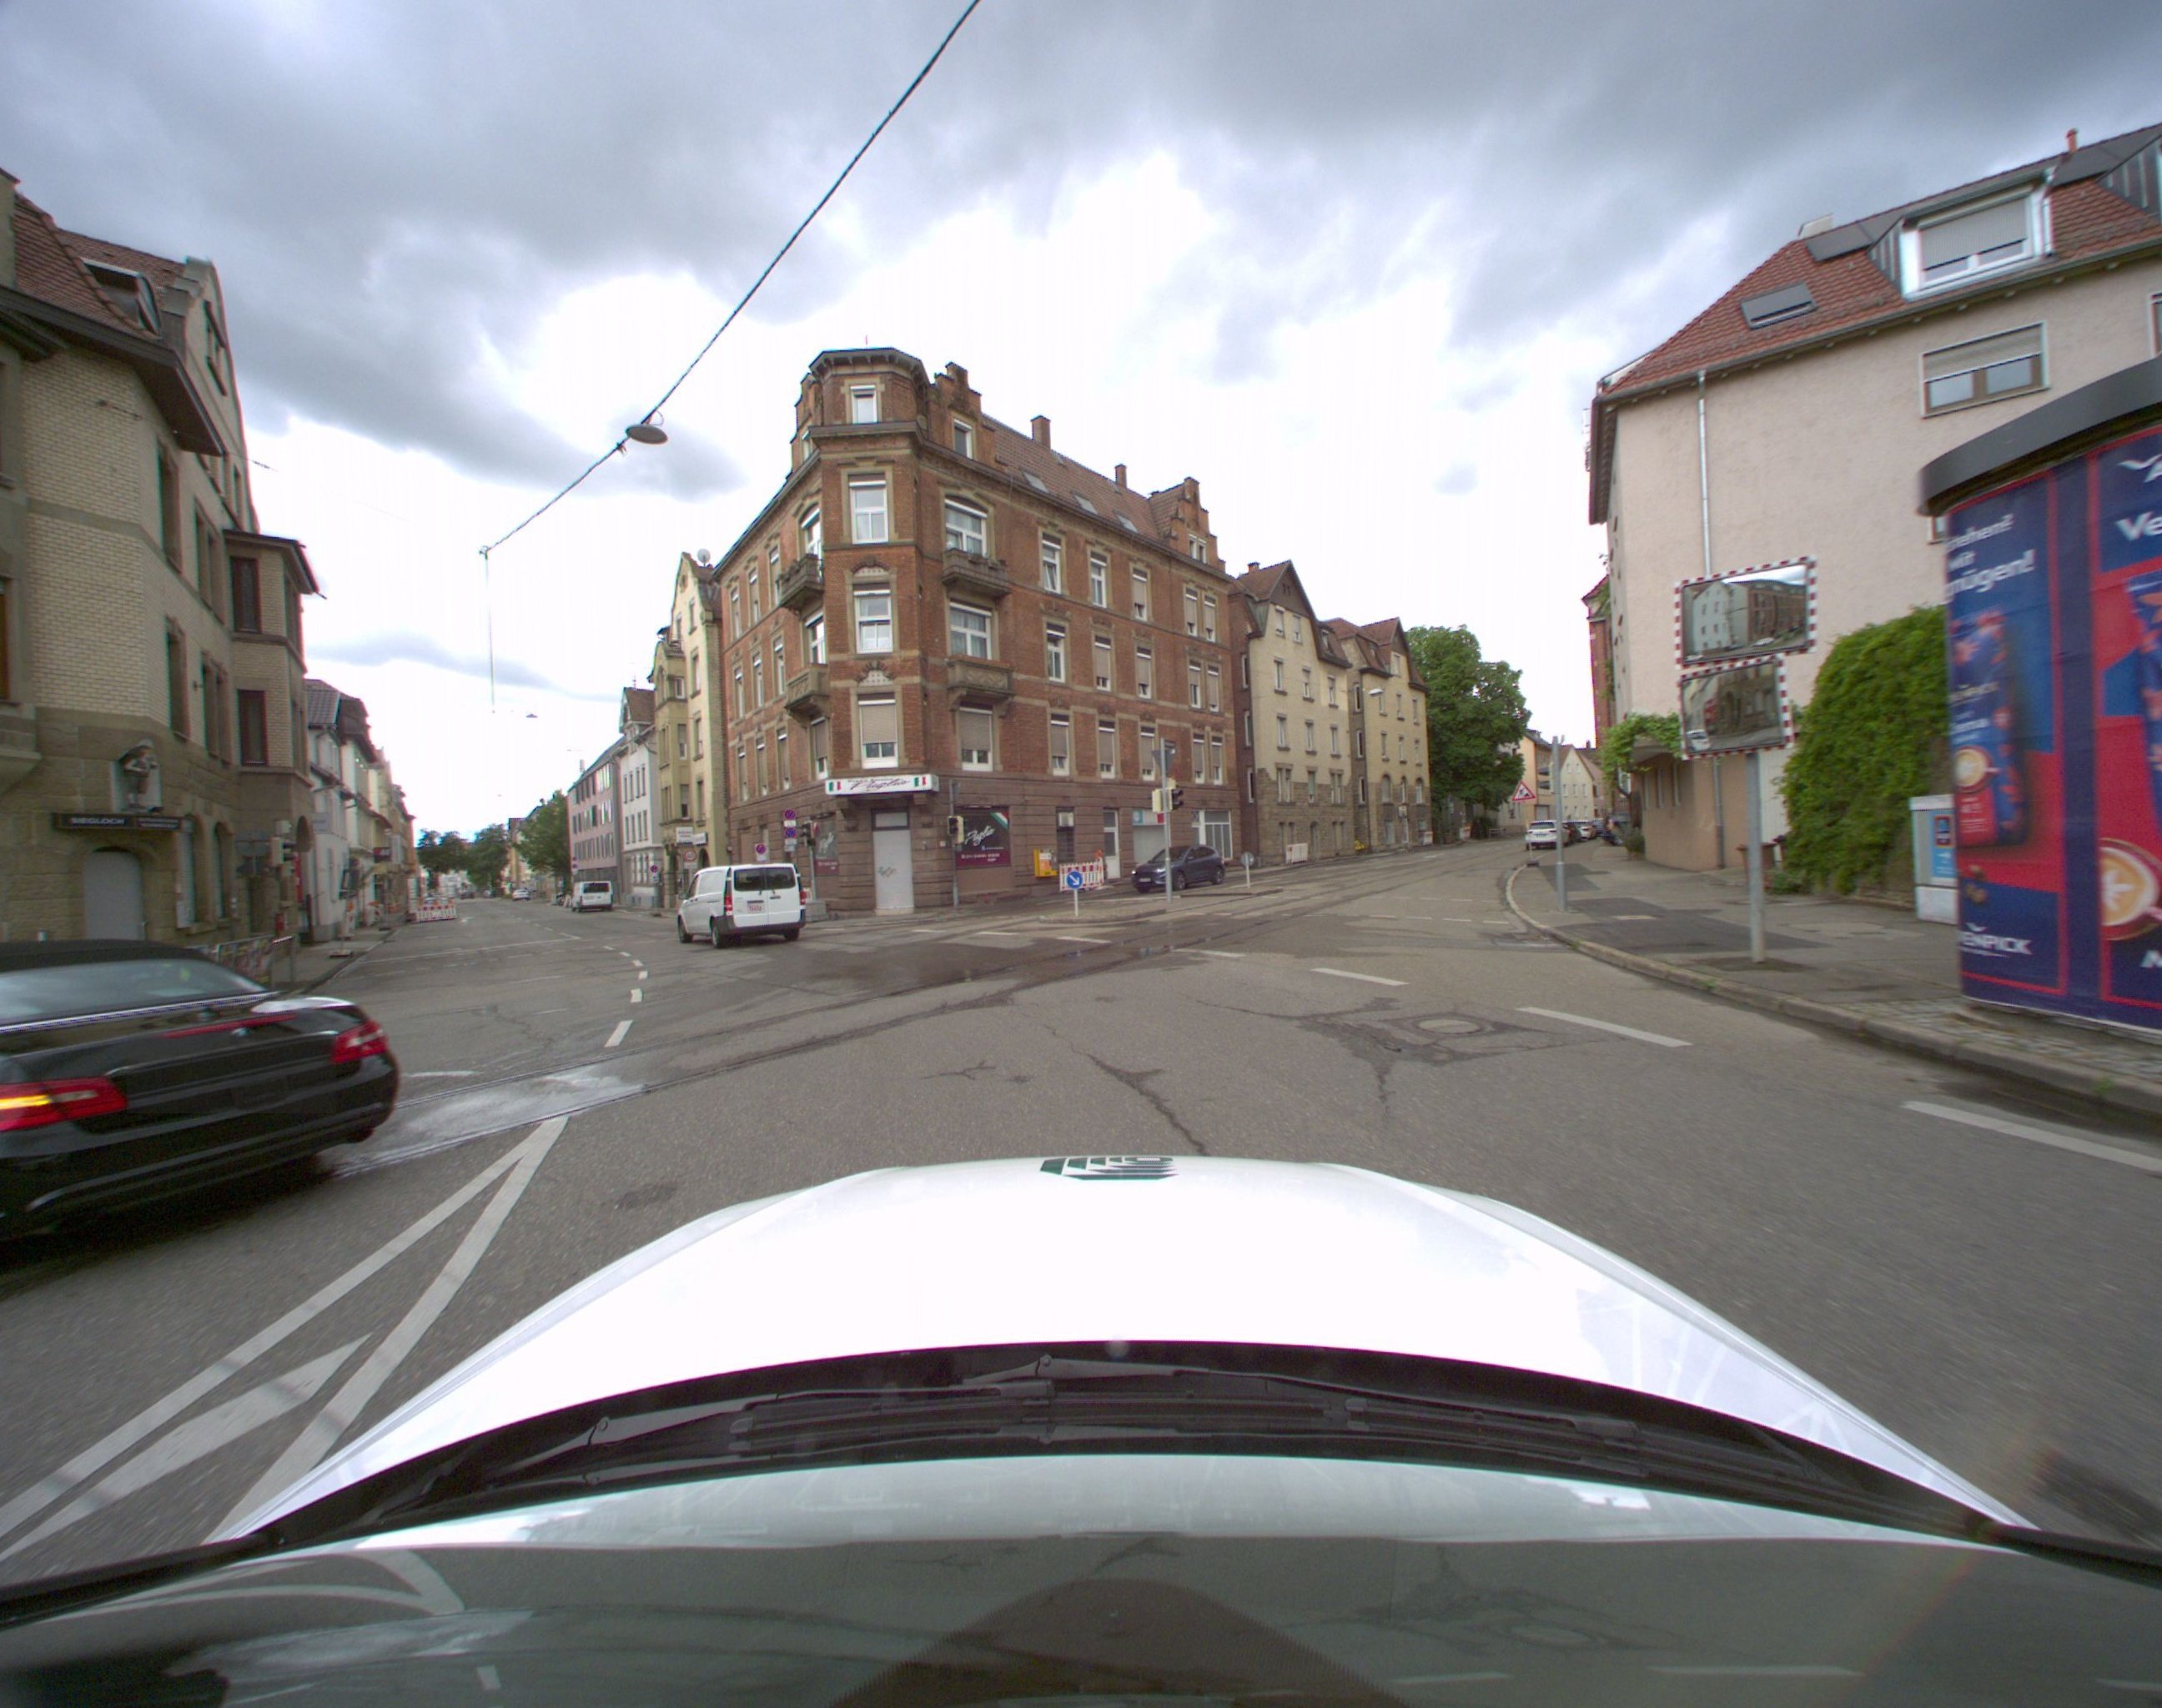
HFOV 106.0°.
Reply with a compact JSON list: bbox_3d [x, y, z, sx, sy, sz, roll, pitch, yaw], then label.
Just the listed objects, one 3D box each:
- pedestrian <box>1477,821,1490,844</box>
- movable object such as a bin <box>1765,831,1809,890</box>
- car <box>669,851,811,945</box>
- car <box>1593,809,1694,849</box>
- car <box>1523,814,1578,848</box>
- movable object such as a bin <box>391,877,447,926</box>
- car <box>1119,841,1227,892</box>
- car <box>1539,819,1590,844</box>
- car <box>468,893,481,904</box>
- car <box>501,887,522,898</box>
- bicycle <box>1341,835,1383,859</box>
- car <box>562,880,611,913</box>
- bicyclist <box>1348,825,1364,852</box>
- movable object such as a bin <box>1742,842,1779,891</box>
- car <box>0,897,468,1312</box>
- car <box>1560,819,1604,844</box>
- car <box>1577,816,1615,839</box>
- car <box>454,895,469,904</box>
[{"bbox_3d":[36.335,-1.937,73.541,0.757,2.013,0.758,-5,-1,38],"label":"pedestrian"},{"bbox_3d":[13.265,0.129,15.303,0.404,1.082,0.474,-3,-2,16],"label":"movable object such as a bin"},{"bbox_3d":[-8.462,1.103,19.953,1.907,1.929,4.591,-4,-1,-39],"label":"car"},{"bbox_3d":[28.115,-1.229,40.889,3.873,1.552,1.883,-6,-2,29],"label":"car"},{"bbox_3d":[26.803,-1.322,46.471,1.930,1.718,4.026,-6,-2,40],"label":"car"},{"bbox_3d":[-43.511,3.099,53.550,2.559,2.825,4.485,-5,1,-39],"label":"movable object such as a bin"},{"bbox_3d":[3.596,0.457,31.185,1.974,1.515,4.313,-7,-2,39],"label":"car"},{"bbox_3d":[29.971,-1.409,50.447,1.974,1.288,4.025,-6,-1,41],"label":"car"},{"bbox_3d":[-121.927,8.886,163.615,2.010,2.013,3.955,-3,-1,-37],"label":"car"},{"bbox_3d":[-76.679,5.203,109.624,2.010,1.486,3.953,2,-3,-39],"label":"car"},{"bbox_3d":[19.212,-0.463,55.704,2.572,1.306,0.636,-7,-2,13],"label":"bicycle"},{"bbox_3d":[-33.333,2.859,54.858,2.146,2.005,4.868,-1,-2,-40],"label":"car"},{"bbox_3d":[18.839,-1.042,55.764,0.778,1.702,0.950,-6,-2,13],"label":"bicyclist"},{"bbox_3d":[12.863,0.237,15.424,0.341,0.912,0.497,-2,-2,16],"label":"movable object such as a bin"},{"bbox_3d":[-5.876,1.144,4.290,4.353,1.409,1.774,-5,-1,13],"label":"car"},{"bbox_3d":[33.602,-1.532,54.558,1.792,1.462,4.025,-6,-2,41],"label":"car"},{"bbox_3d":[40.753,-2.100,64.394,1.944,1.663,3.844,-2,2,42],"label":"car"},{"bbox_3d":[-120.503,8.904,158.554,2.008,1.618,3.957,-4,-1,-34],"label":"car"}]
